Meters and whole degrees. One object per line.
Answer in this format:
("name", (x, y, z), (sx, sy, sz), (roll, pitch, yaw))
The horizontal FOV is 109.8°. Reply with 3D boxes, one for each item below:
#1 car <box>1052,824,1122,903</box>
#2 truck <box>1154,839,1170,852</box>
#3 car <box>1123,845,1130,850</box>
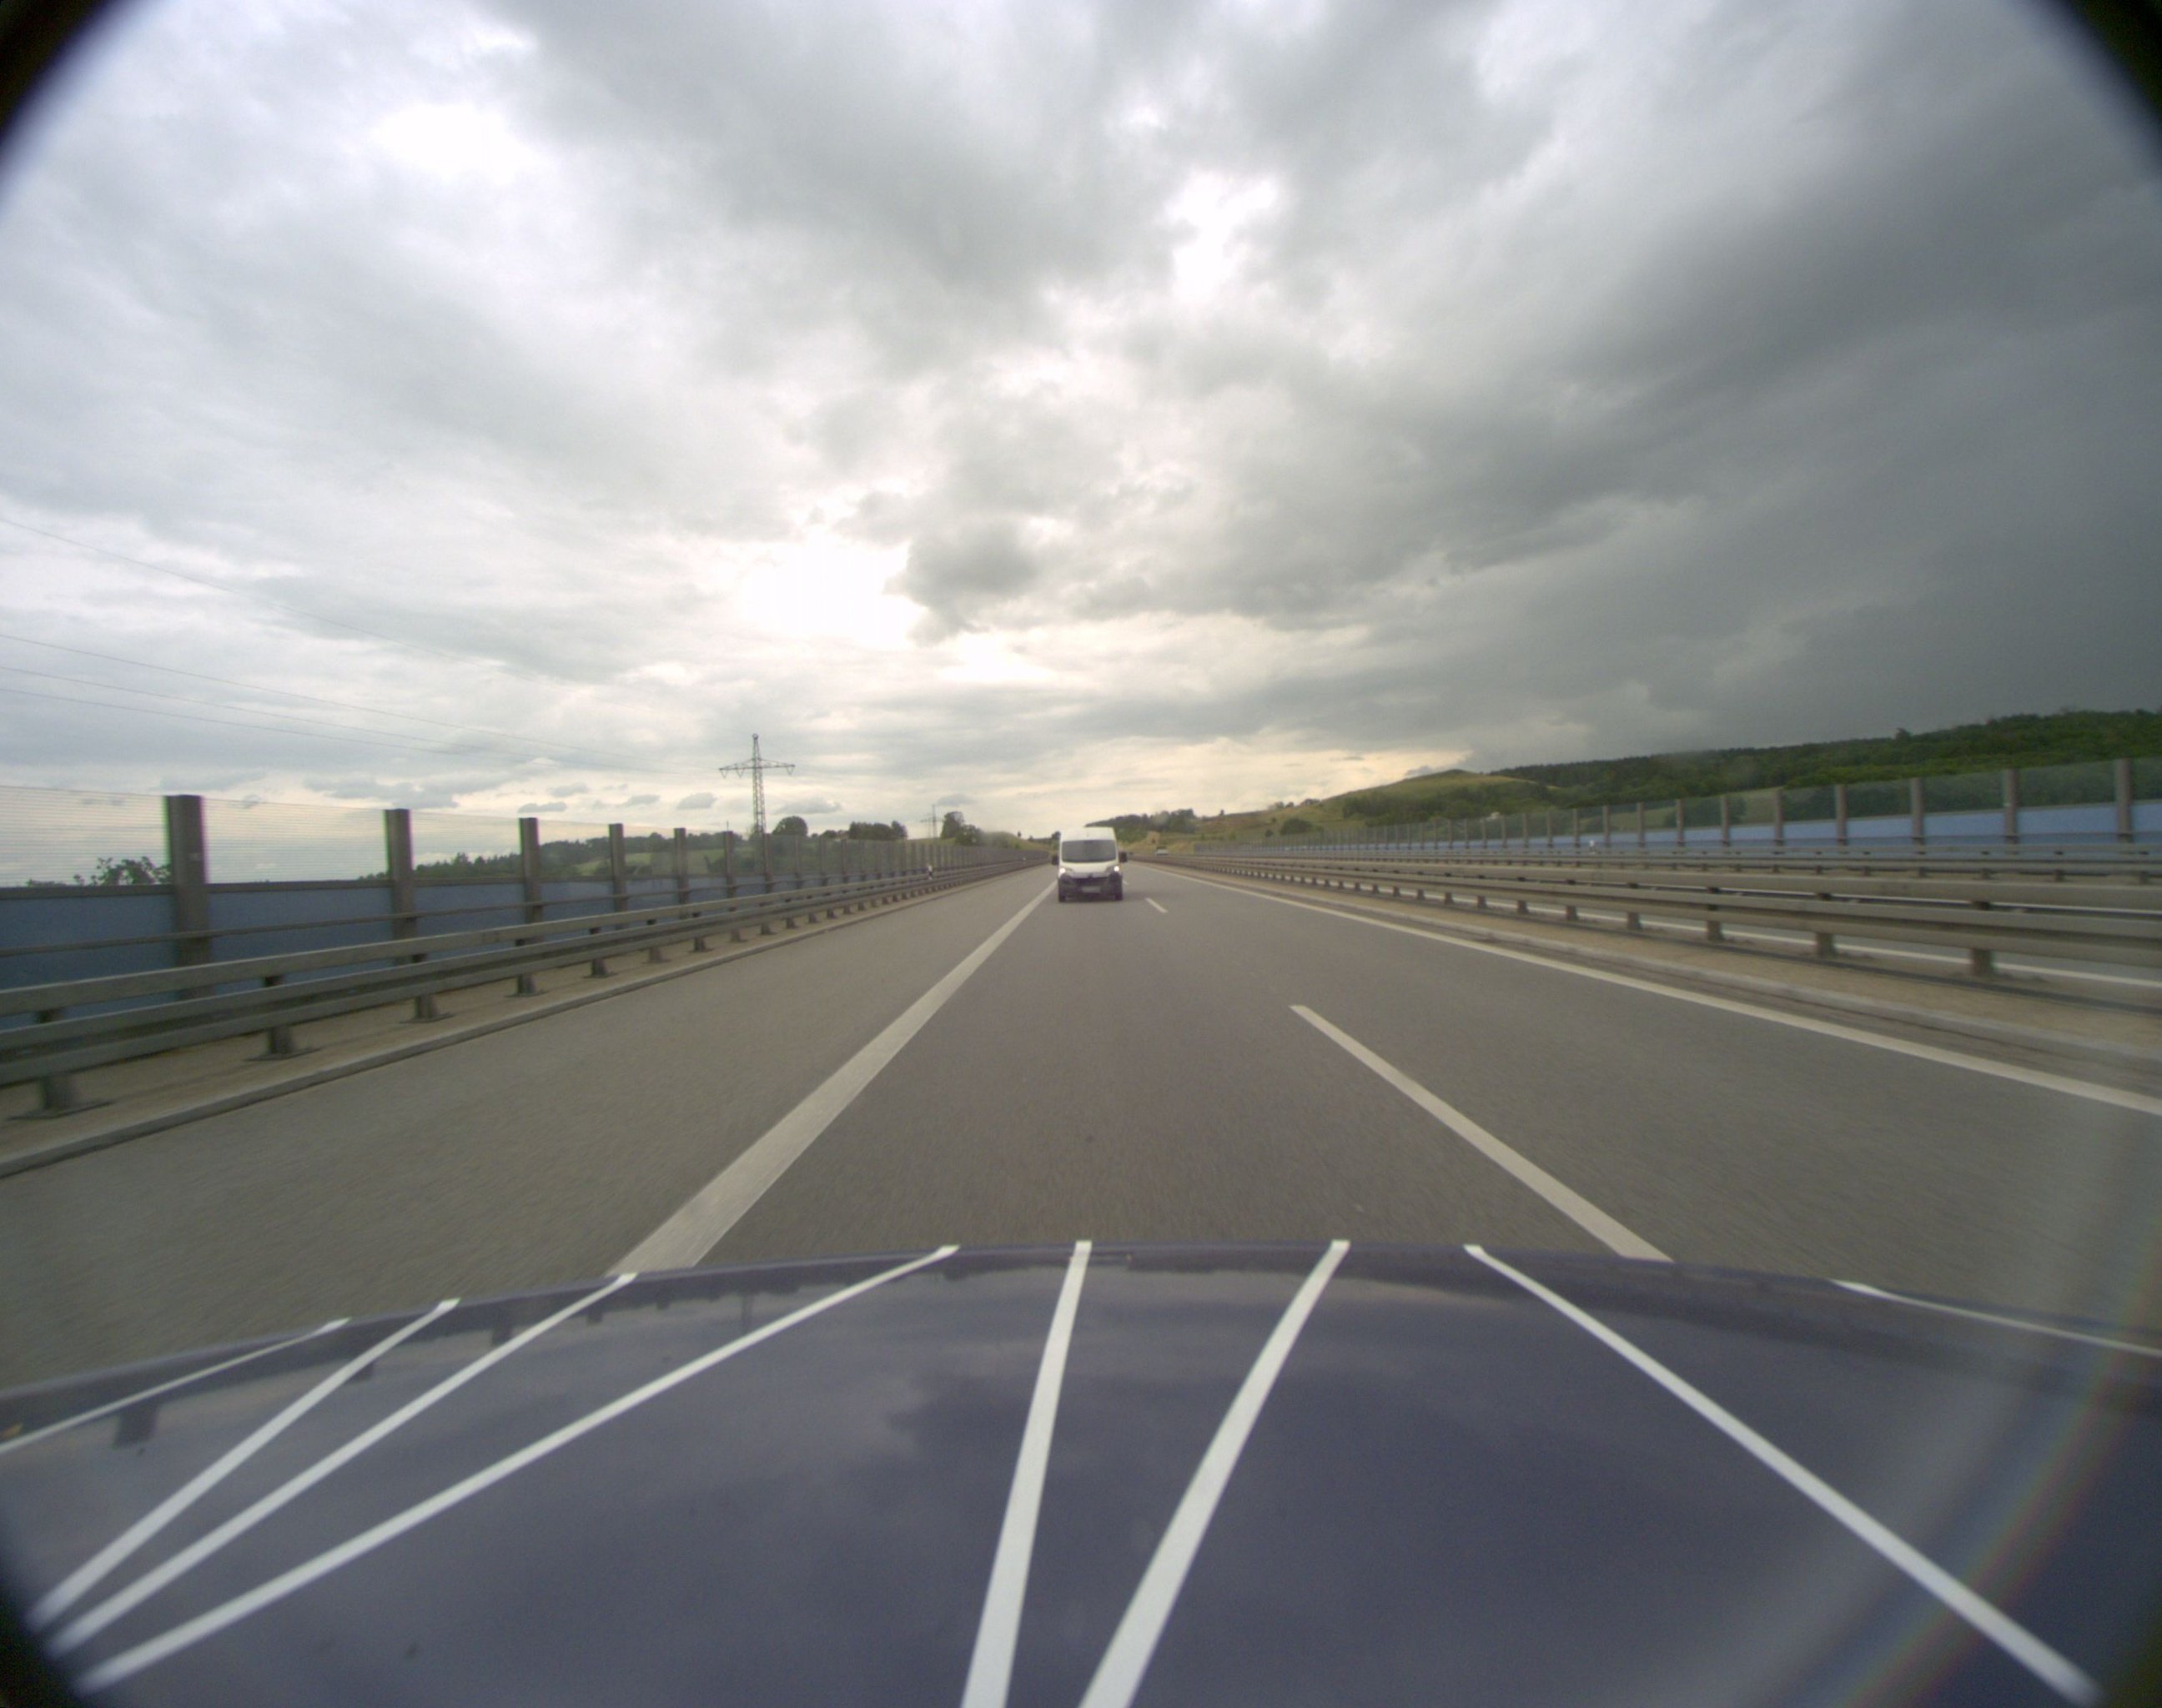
("car", (0.291, 0.295, 26.787), (2.132, 2.411, 6.112), (-2, 0, 2))
("truck", (15.587, -1.594, 146.758), (2.278, 2.417, 7.451), (-2, 0, 1))
("car", (13.051, -1.943, 219.125), (1.758, 1.483, 4.000), (-2, 0, 1))
